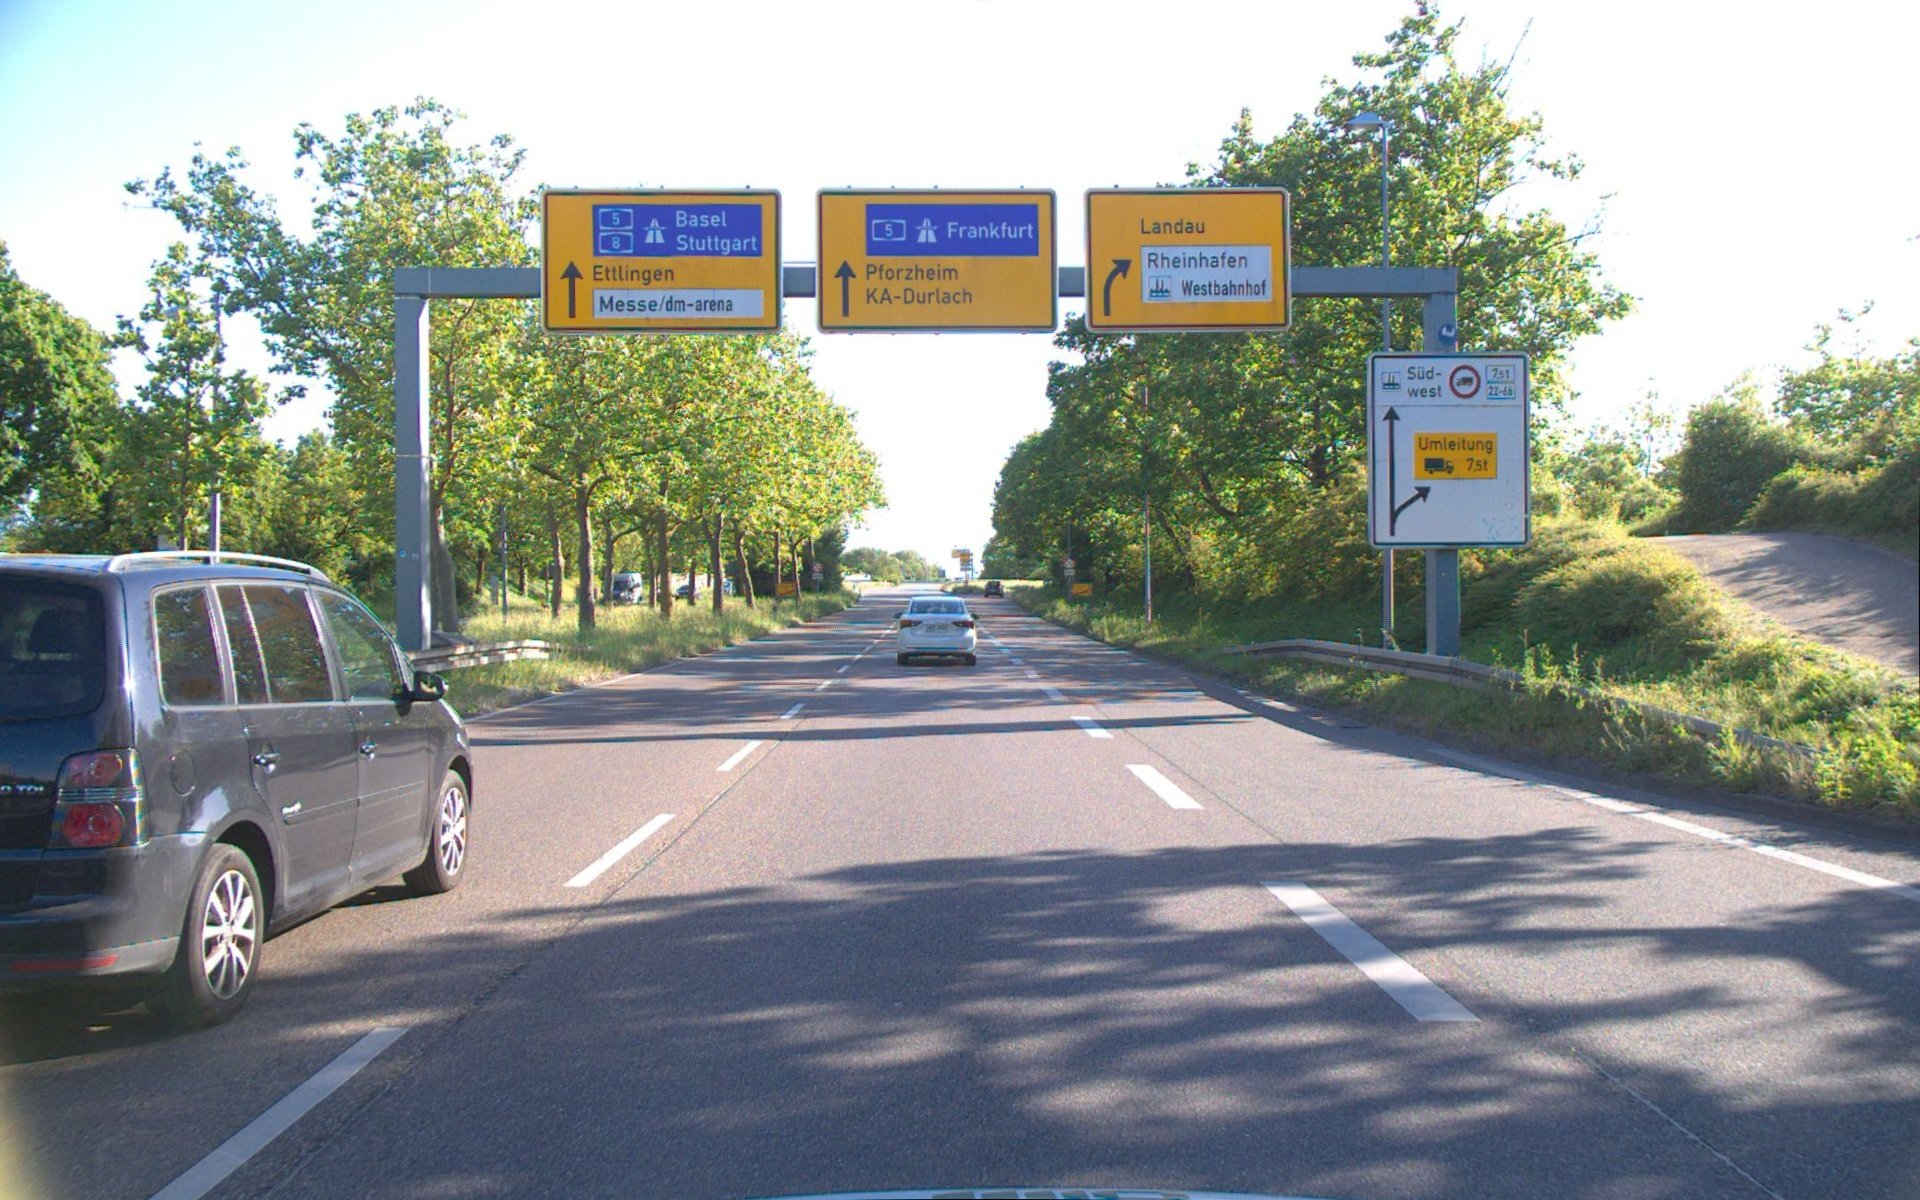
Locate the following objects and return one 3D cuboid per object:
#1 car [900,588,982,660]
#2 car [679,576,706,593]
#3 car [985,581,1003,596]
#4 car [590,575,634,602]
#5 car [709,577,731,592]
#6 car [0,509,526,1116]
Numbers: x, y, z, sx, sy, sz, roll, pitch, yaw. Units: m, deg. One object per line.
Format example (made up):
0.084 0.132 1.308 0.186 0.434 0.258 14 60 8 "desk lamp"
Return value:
-0.432 0.498 37.525 1.731 1.489 4.365 -1 1 -1 "car"
-24.481 -1.403 151.509 1.731 1.489 4.366 -1 1 -1 "car"
3.375 -1.148 164.184 1.731 1.489 4.367 -1 1 1 "car"
-25.835 -0.835 122.856 2.091 1.935 5.741 -1 1 -1 "car"
-25.156 -1.610 173.360 1.731 1.489 4.366 -1 1 -1 "car"
-3.347 0.570 7.014 1.731 1.673 4.922 1 0 -1 "car"
